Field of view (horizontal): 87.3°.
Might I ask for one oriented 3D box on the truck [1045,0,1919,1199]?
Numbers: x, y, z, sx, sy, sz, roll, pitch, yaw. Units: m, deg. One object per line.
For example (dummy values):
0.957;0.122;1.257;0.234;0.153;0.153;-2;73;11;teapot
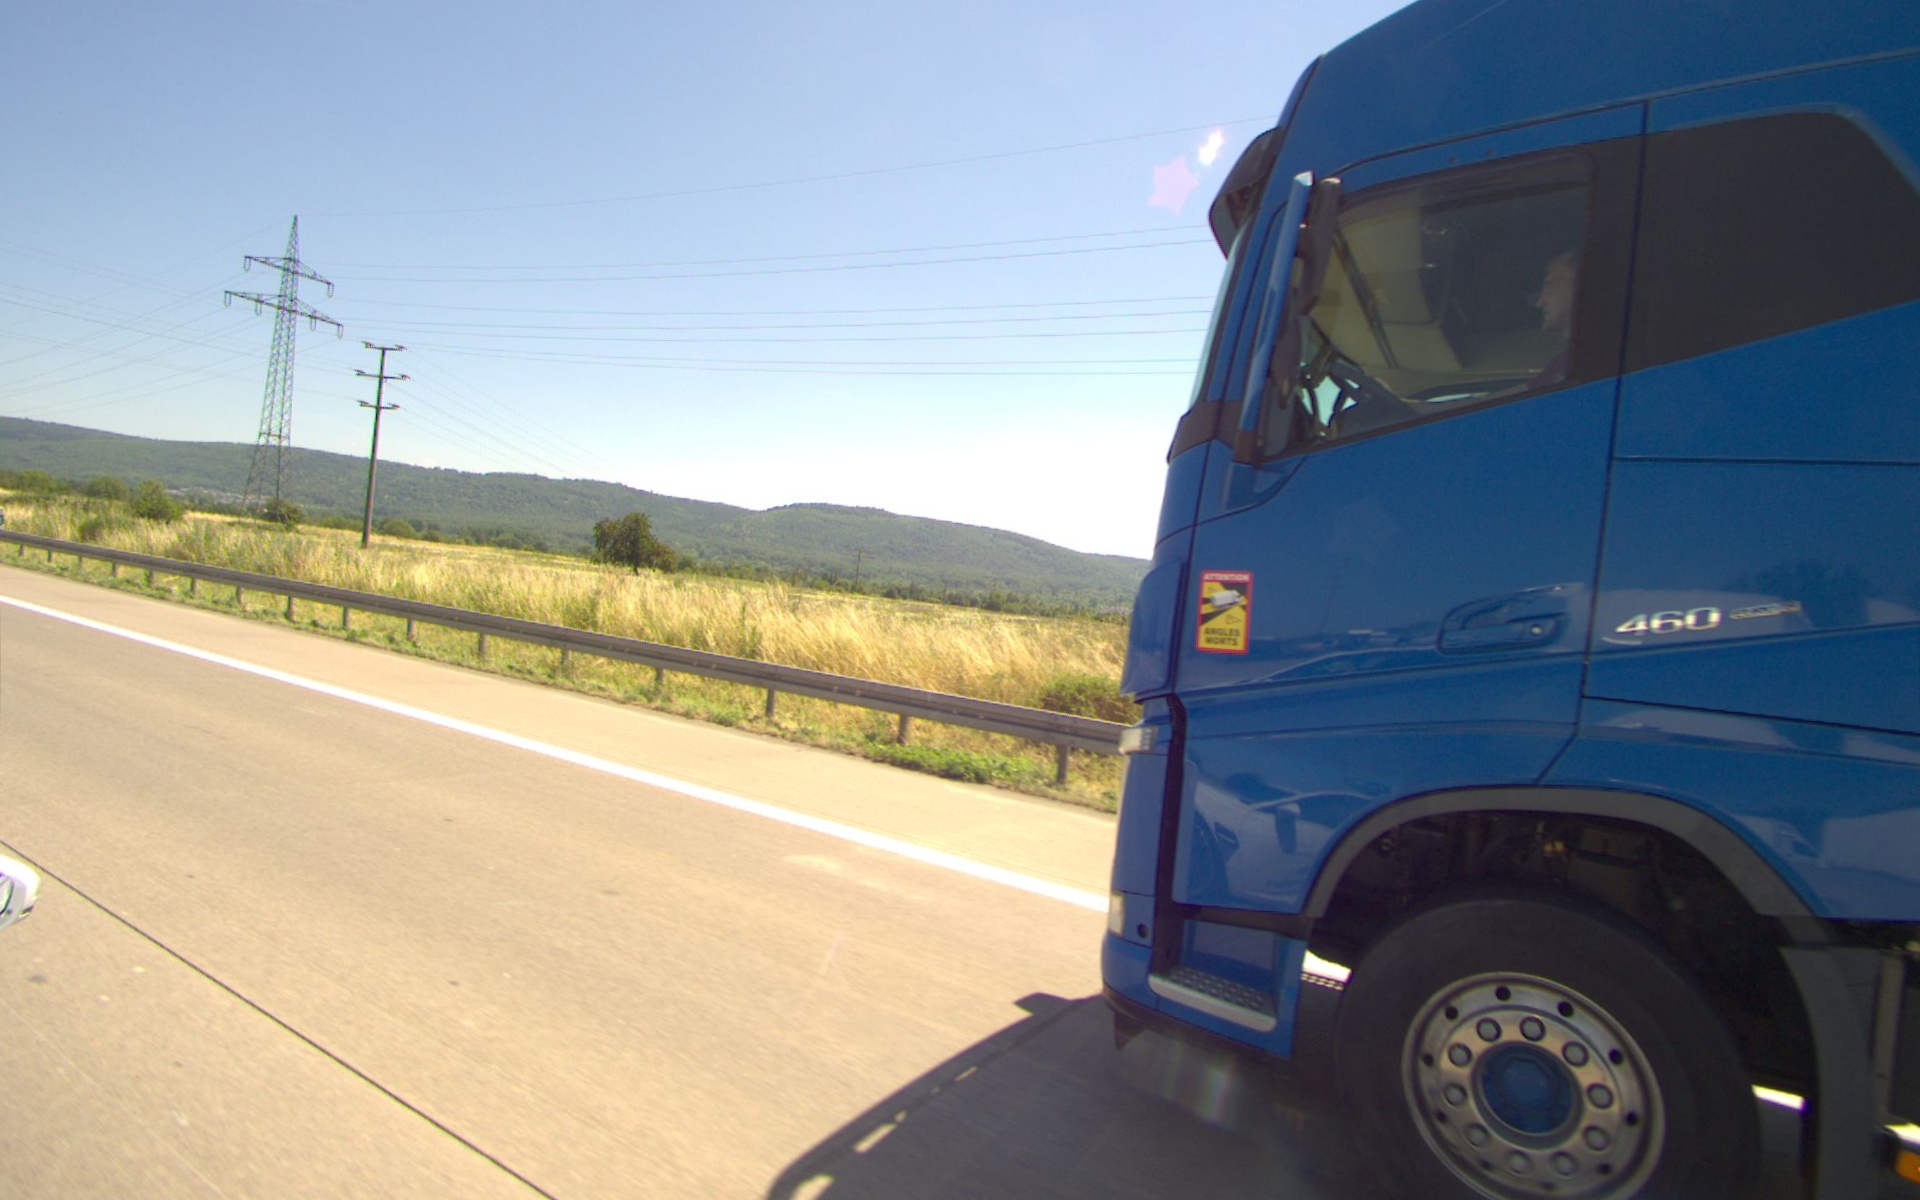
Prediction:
3.487;-0.082;2.908;5.374;4.091;2.756;7;-1;31;truck
